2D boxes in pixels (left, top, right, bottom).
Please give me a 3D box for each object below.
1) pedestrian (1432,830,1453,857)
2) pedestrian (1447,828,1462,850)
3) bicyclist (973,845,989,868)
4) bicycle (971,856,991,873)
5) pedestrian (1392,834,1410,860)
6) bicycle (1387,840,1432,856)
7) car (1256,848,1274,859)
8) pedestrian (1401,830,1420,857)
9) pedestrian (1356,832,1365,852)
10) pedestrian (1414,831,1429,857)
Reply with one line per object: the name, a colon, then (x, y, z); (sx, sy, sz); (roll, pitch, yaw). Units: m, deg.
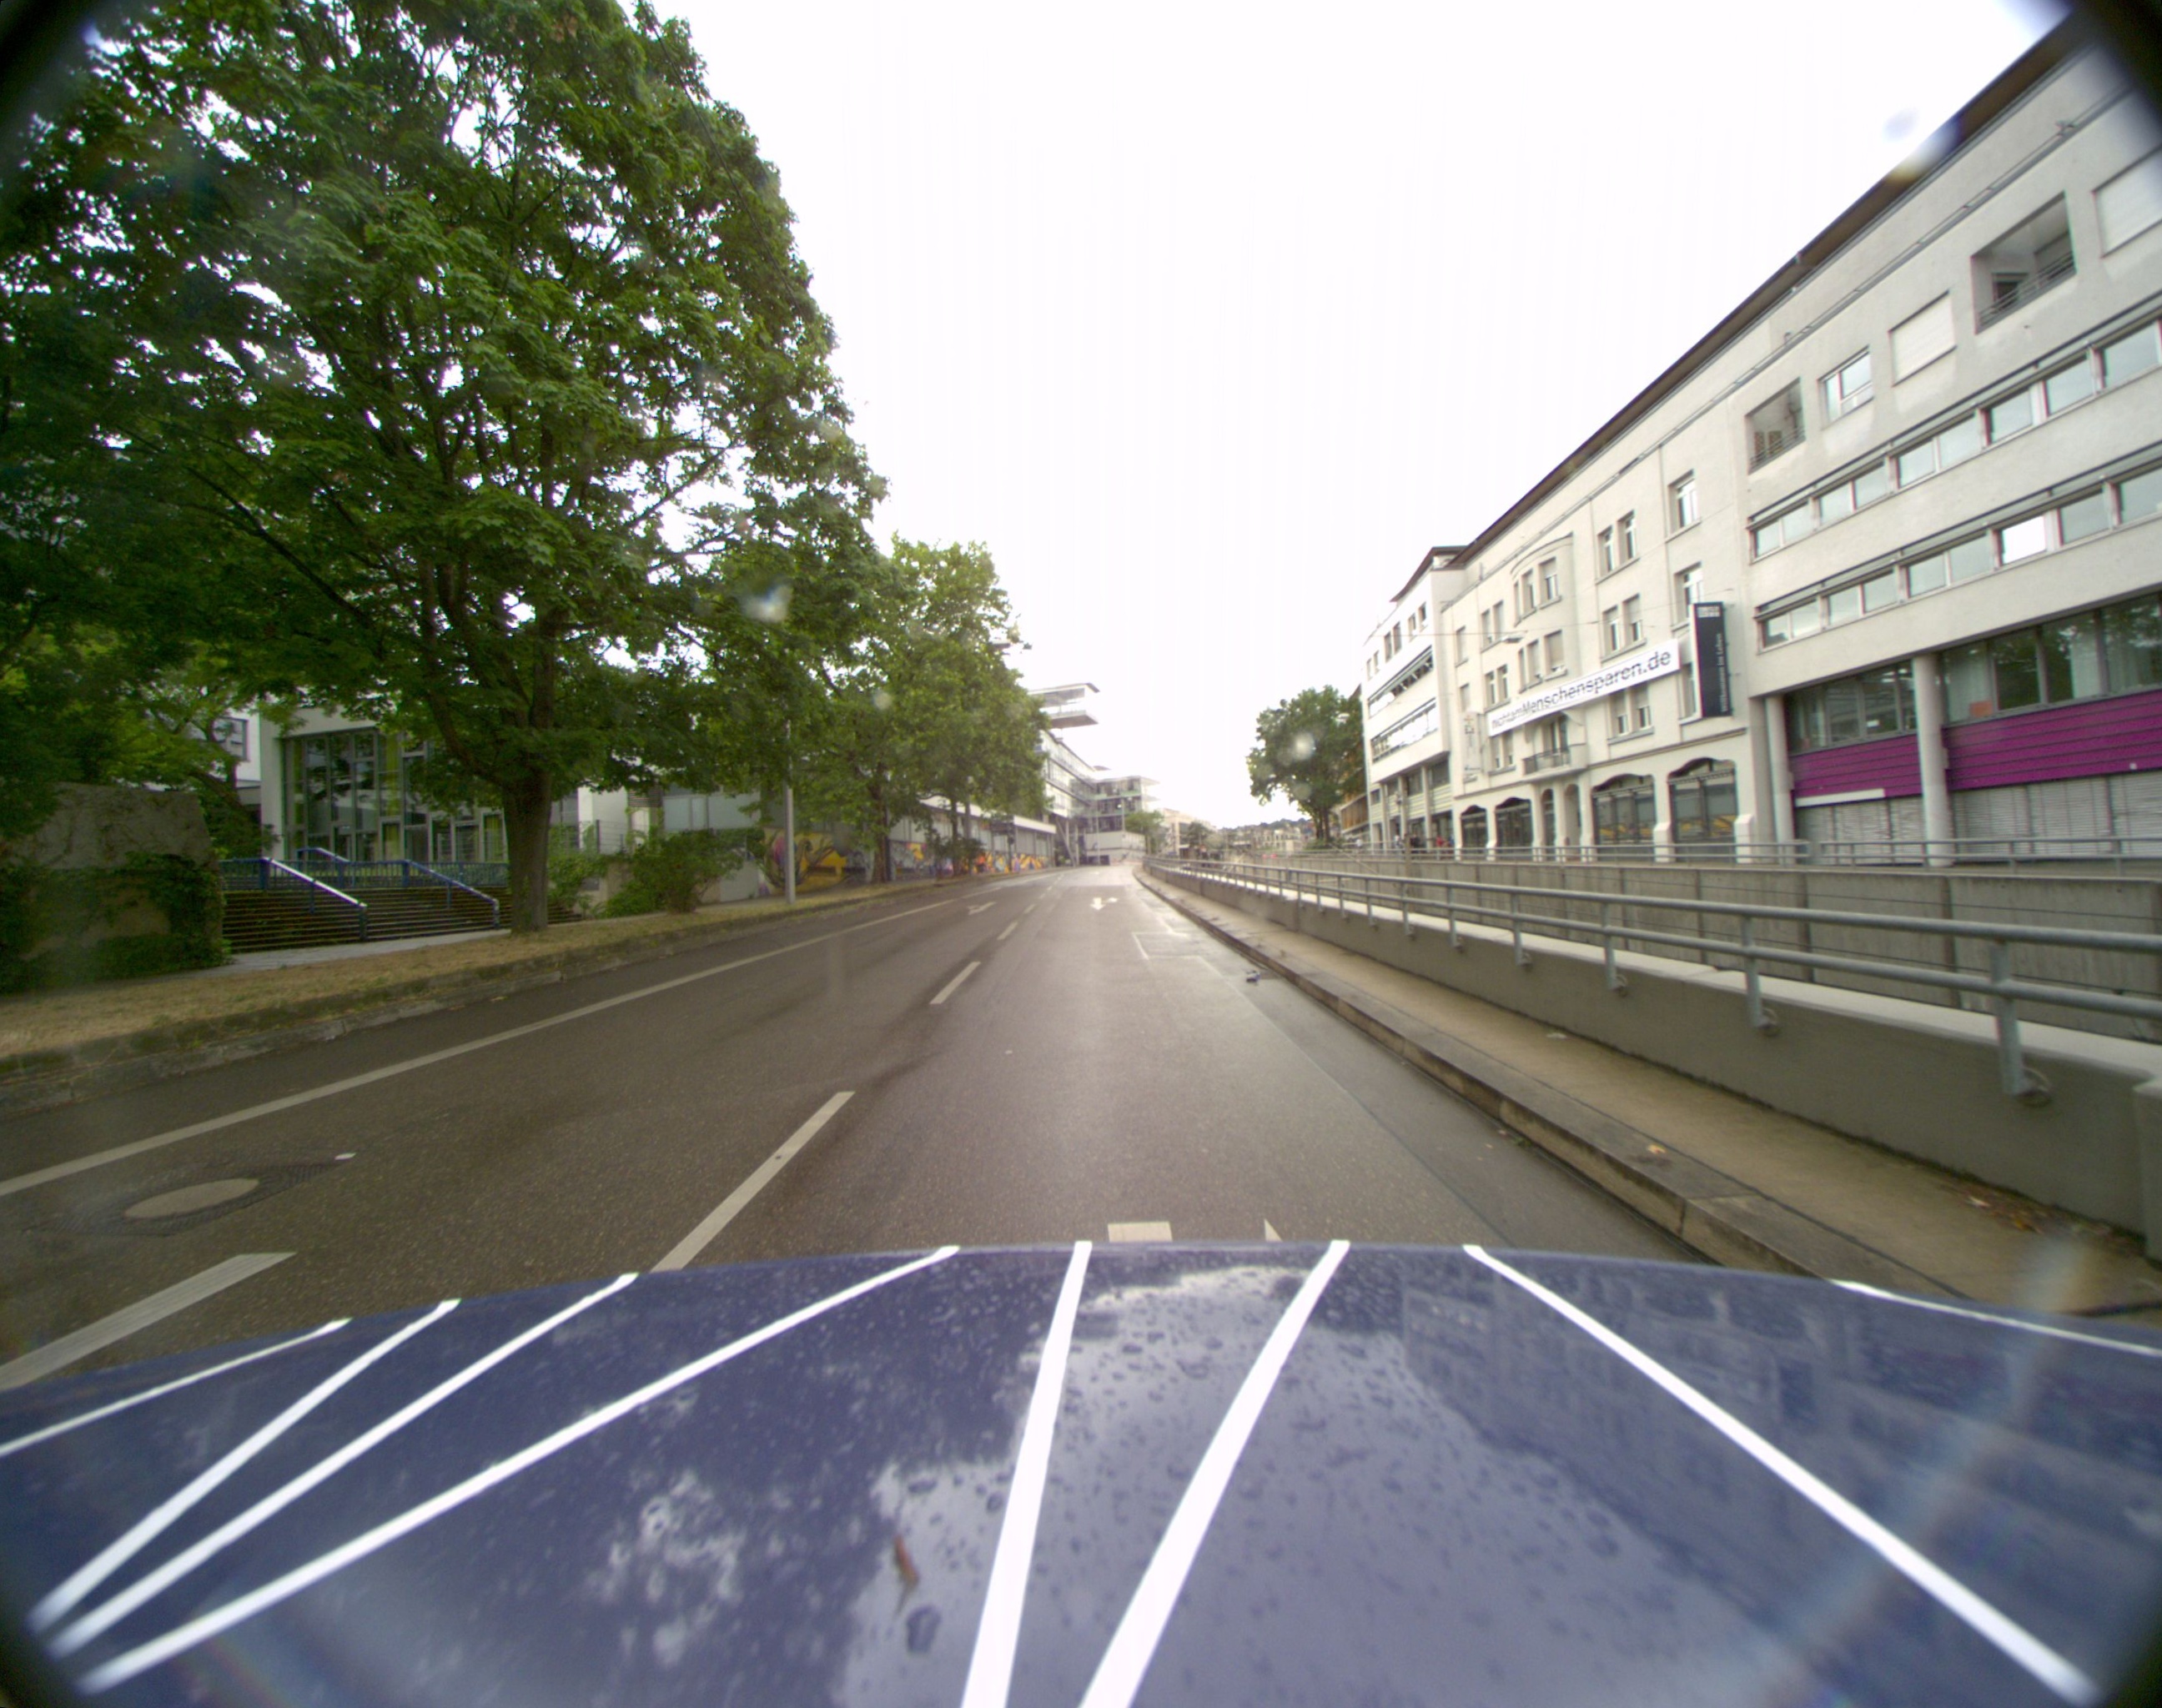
pedestrian: (22.497, -0.629, 47.301); (0.674, 1.606, 0.941); (-3, 0, -14)
pedestrian: (24.557, -1.000, 50.004); (0.608, 1.411, 0.674); (-3, 0, 6)
bicyclist: (-7.220, 0.167, 54.796); (0.808, 1.618, 1.047); (-2, 1, 8)
bicycle: (-7.188, 0.762, 54.718); (0.808, 1.105, 2.199); (-2, 1, 8)
pedestrian: (21.437, -0.473, 50.914); (0.675, 1.633, 0.793); (-3, 0, -42)
bicycle: (24.210, -0.480, 56.198); (1.696, 1.037, 4.522); (-4, 1, 5)
car: (28.286, -0.071, 116.719); (1.841, 1.703, 4.578); (-3, 0, 3)
pedestrian: (22.380, -0.704, 51.579); (0.674, 1.774, 0.941); (-3, 0, -14)
pedestrian: (26.002, -1.127, 70.653); (0.666, 1.838, 0.831); (-1, 0, 10)
pedestrian: (22.572, -0.666, 50.316); (0.675, 1.712, 0.608); (-3, 0, -39)
